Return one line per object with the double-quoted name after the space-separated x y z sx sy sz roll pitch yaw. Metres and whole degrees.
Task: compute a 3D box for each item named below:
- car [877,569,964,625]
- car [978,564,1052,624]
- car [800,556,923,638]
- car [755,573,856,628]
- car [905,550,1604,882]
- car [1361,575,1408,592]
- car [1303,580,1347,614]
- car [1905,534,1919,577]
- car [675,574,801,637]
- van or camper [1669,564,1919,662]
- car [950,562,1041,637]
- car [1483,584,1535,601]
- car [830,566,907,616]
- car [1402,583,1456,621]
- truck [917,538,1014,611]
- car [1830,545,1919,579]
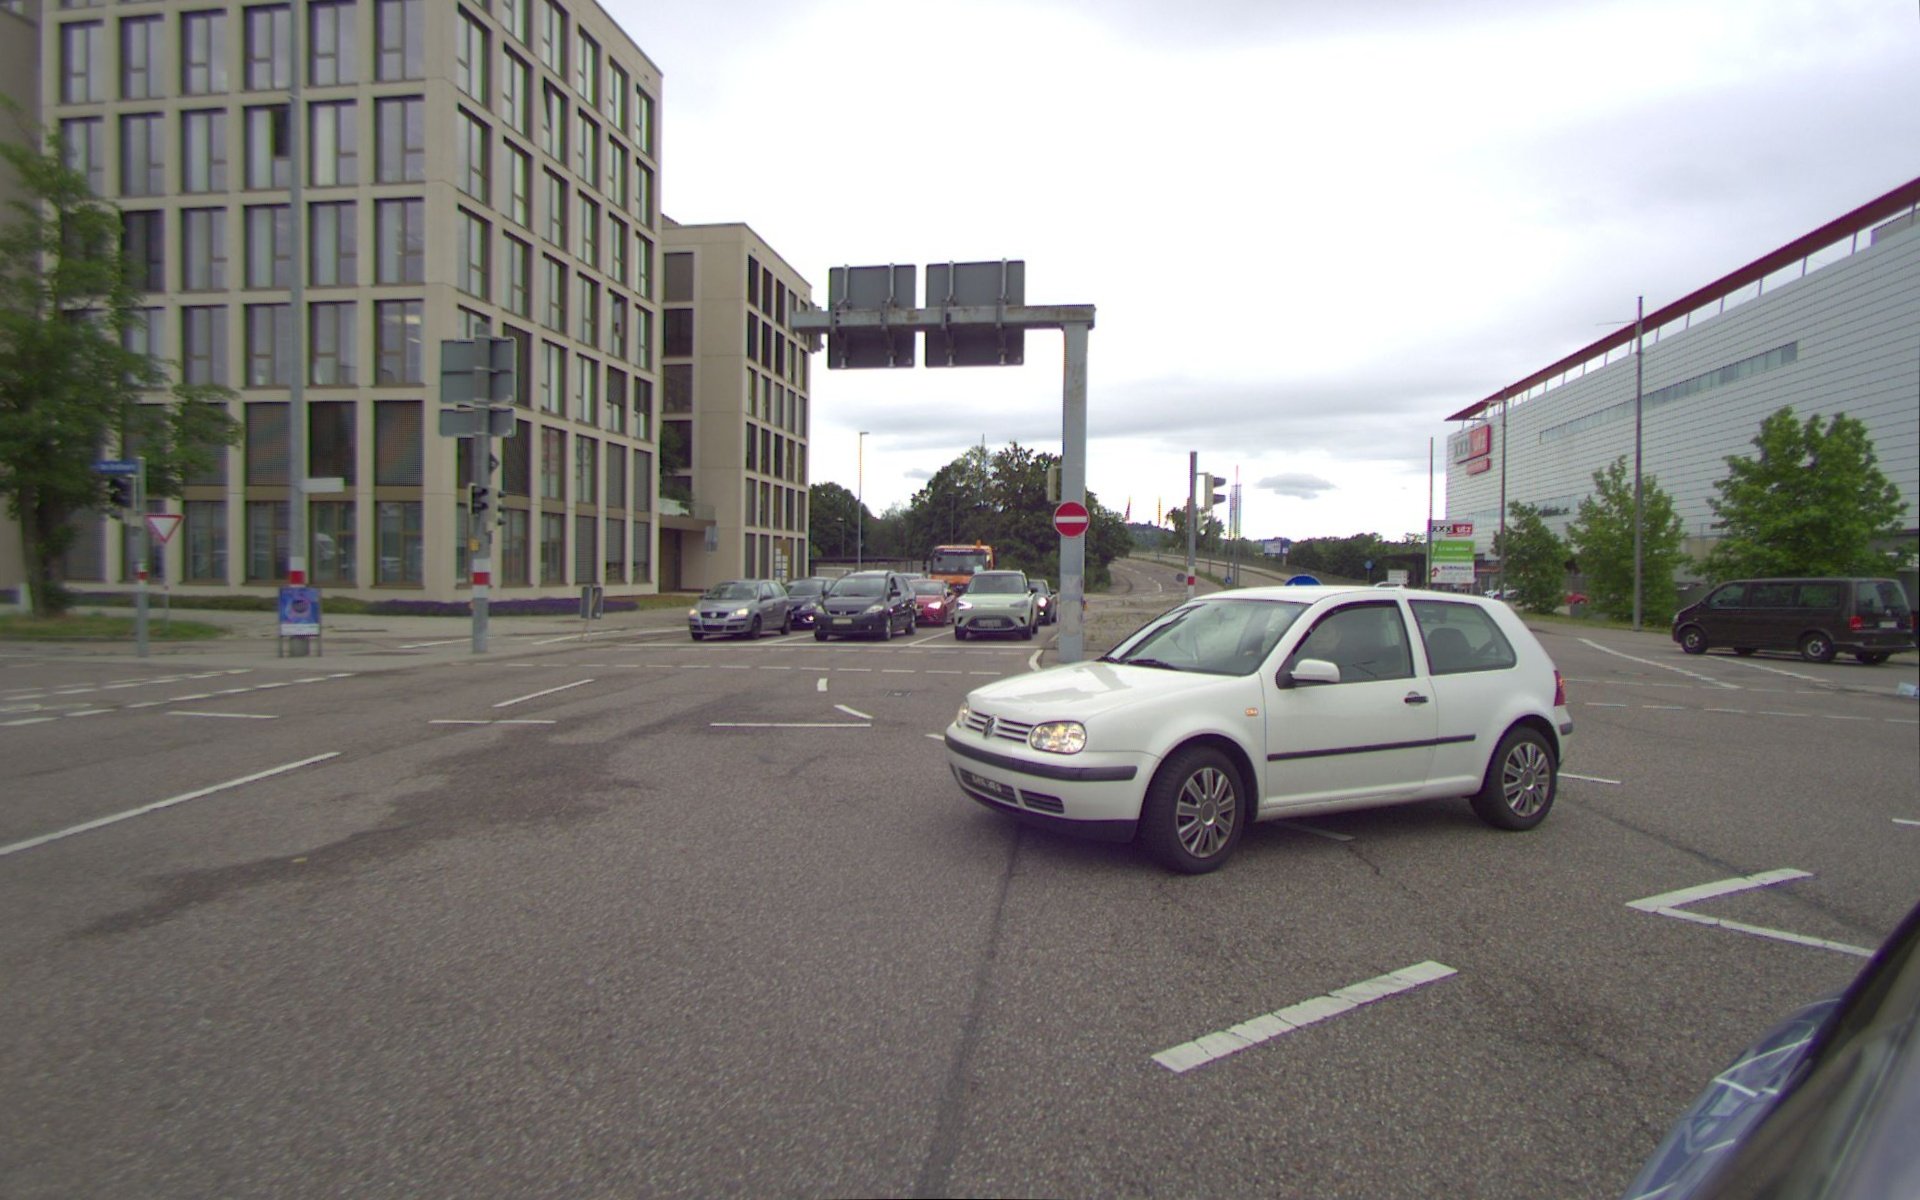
-1.141 -0.073 31.549 1.967 1.622 3.989 0 0 9 "car"
1.842 -0.182 32.559 1.967 1.791 4.410 0 0 9 "car"
-2.285 -0.062 24.647 1.967 1.791 4.410 0 0 9 "car"
-4.547 0.018 30.341 1.841 1.509 4.139 0 0 9 "car"
1.821 0.519 6.254 3.922 1.496 1.841 0 0 -26 "car"
42.231 -1.615 100.684 4.140 1.631 1.713 0 0 17 "car"
17.380 -0.123 48.156 1.813 1.428 4.168 4 1 21 "car"
48.073 -2.150 48.206 3.941 2.039 1.991 0 0 14 "car"
-5.444 0.135 25.345 1.722 1.450 4.087 0 0 9 "car"
20.031 0.232 24.109 2.119 2.038 4.953 2 1 -11 "van or camper"
0.946 -0.007 24.655 1.873 1.664 4.060 0 0 7 "car"
54.206 -0.769 99.984 4.129 1.631 1.717 0 0 10 "car"
-3.395 -0.315 38.390 1.967 1.791 4.139 0 0 9 "car"
20.885 0.114 45.172 1.882 1.468 4.148 -2 -3 21 "car"
0.354 -0.928 40.284 2.776 2.672 6.654 0 0 10 "truck"
49.257 -1.991 53.772 4.195 1.697 1.770 0 0 13 "car"
